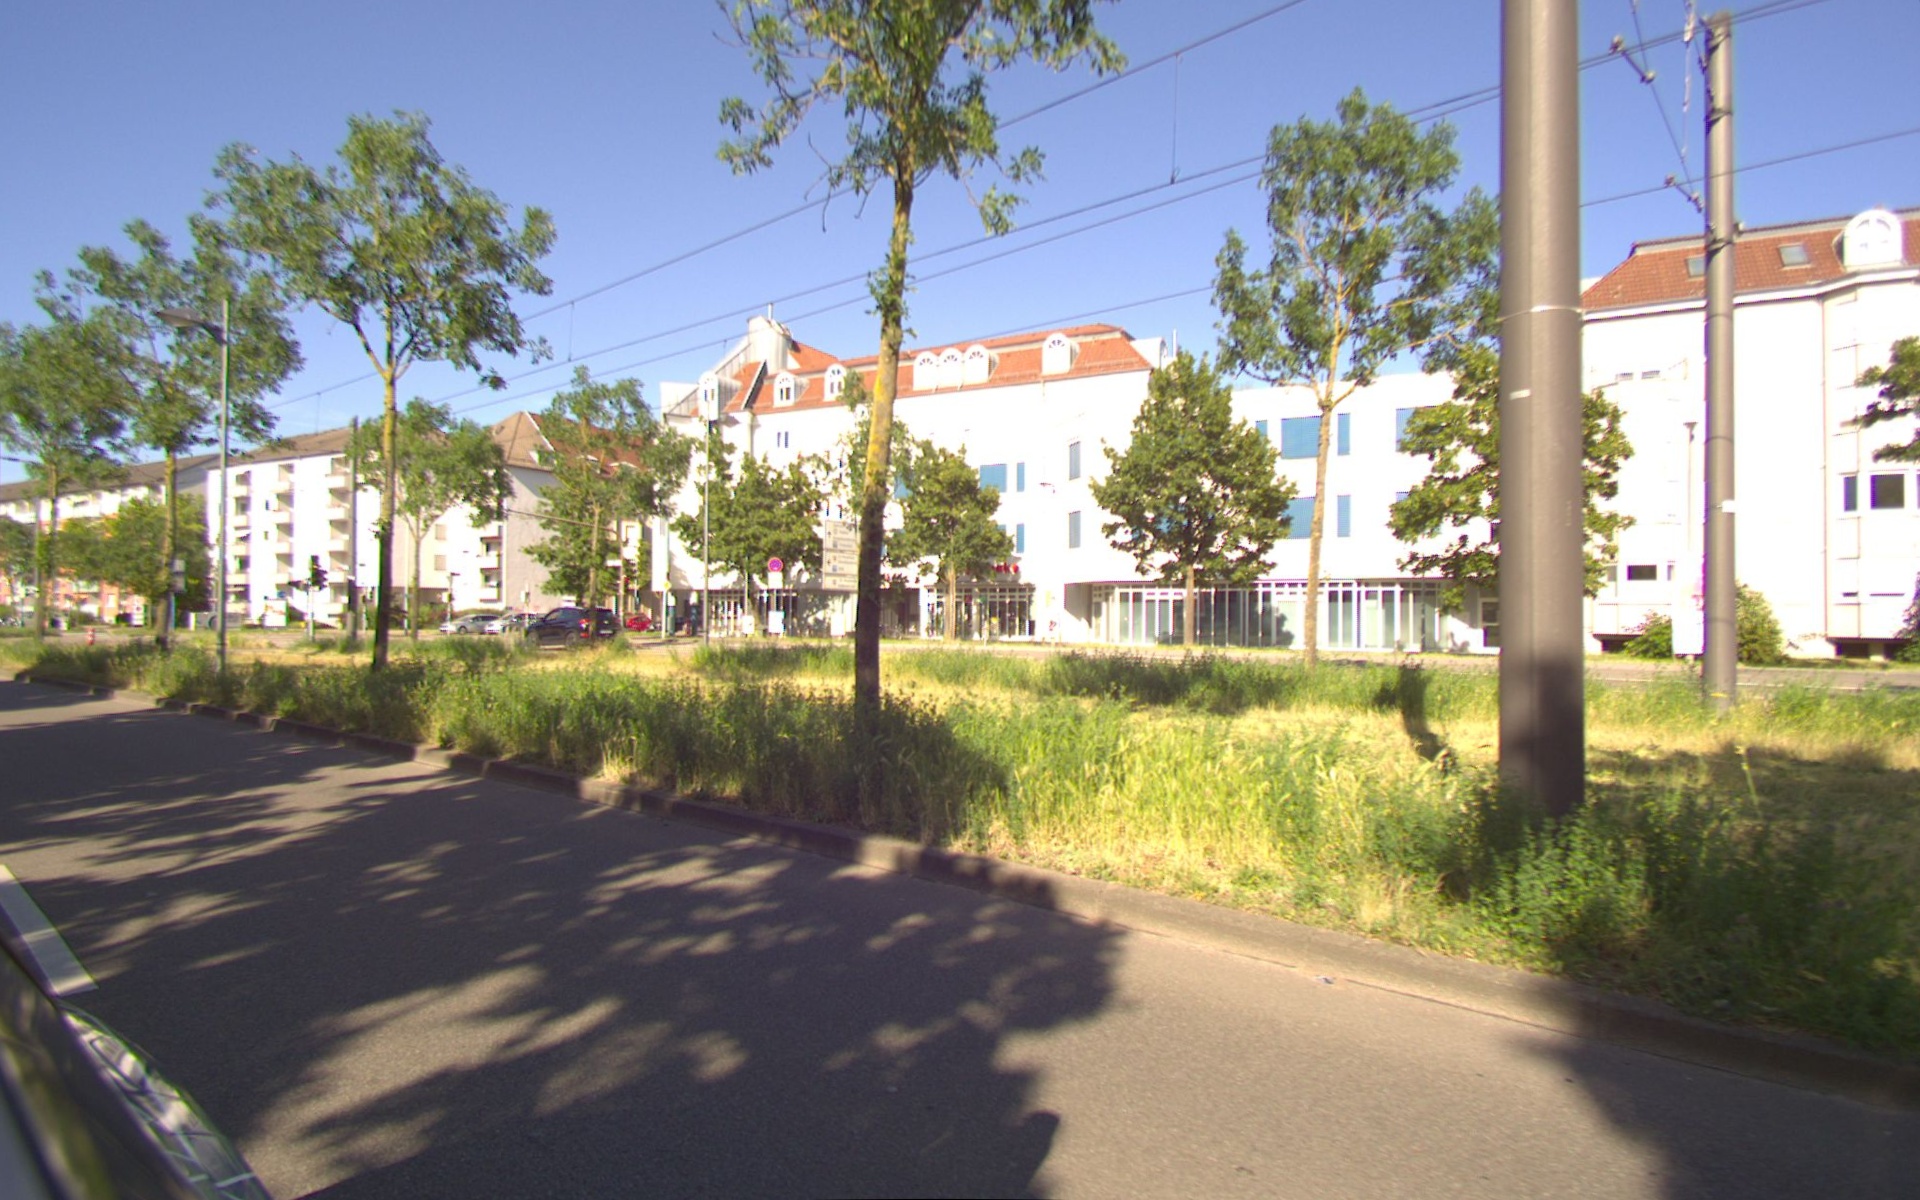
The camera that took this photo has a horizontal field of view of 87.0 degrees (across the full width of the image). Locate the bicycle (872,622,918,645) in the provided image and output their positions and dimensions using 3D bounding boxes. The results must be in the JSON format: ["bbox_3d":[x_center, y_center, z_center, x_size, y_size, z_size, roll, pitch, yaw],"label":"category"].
[{"bbox_3d":[-3.474,1.765,53.872,2.546,1.222,0.711,-1,-2,35],"label":"bicycle"}]

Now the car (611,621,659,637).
[{"bbox_3d":[-28.257,2.523,88.092,1.695,1.320,4.051,-1,-1,27],"label":"car"}]

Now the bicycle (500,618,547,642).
[{"bbox_3d":[-24.936,1.695,57.856,0.661,1.319,2.551,-1,-2,33],"label":"bicycle"}]

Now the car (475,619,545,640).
[{"bbox_3d":[-32.662,2.132,73.587,2.323,1.476,4.150,-1,-1,27],"label":"car"}]

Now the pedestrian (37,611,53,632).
[{"bbox_3d":[-76.120,1.774,84.183,0.701,1.724,0.779,-1,-2,28],"label":"pedestrian"}]

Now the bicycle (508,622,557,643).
[{"bbox_3d":[-24.182,1.839,57.259,0.781,1.168,2.551,-1,-2,33],"label":"bicycle"}]

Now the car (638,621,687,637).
[{"bbox_3d":[-25.427,2.463,86.675,1.695,1.320,4.051,-1,-1,27],"label":"car"}]

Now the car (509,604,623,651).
[{"bbox_3d":[-14.613,0.996,37.430,4.479,1.653,1.803,-1,-2,36],"label":"car"}]

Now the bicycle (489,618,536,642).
[{"bbox_3d":[-25.806,1.721,58.450,0.661,1.319,2.551,-1,-2,33],"label":"bicycle"}]

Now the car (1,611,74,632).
[{"bbox_3d":[-77.104,1.794,84.658,4.168,1.723,1.699,1,-2,-30],"label":"car"}]

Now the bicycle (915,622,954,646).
[{"bbox_3d":[-1.342,1.783,53.821,0.718,1.222,2.523,-1,-2,34],"label":"bicycle"}]
